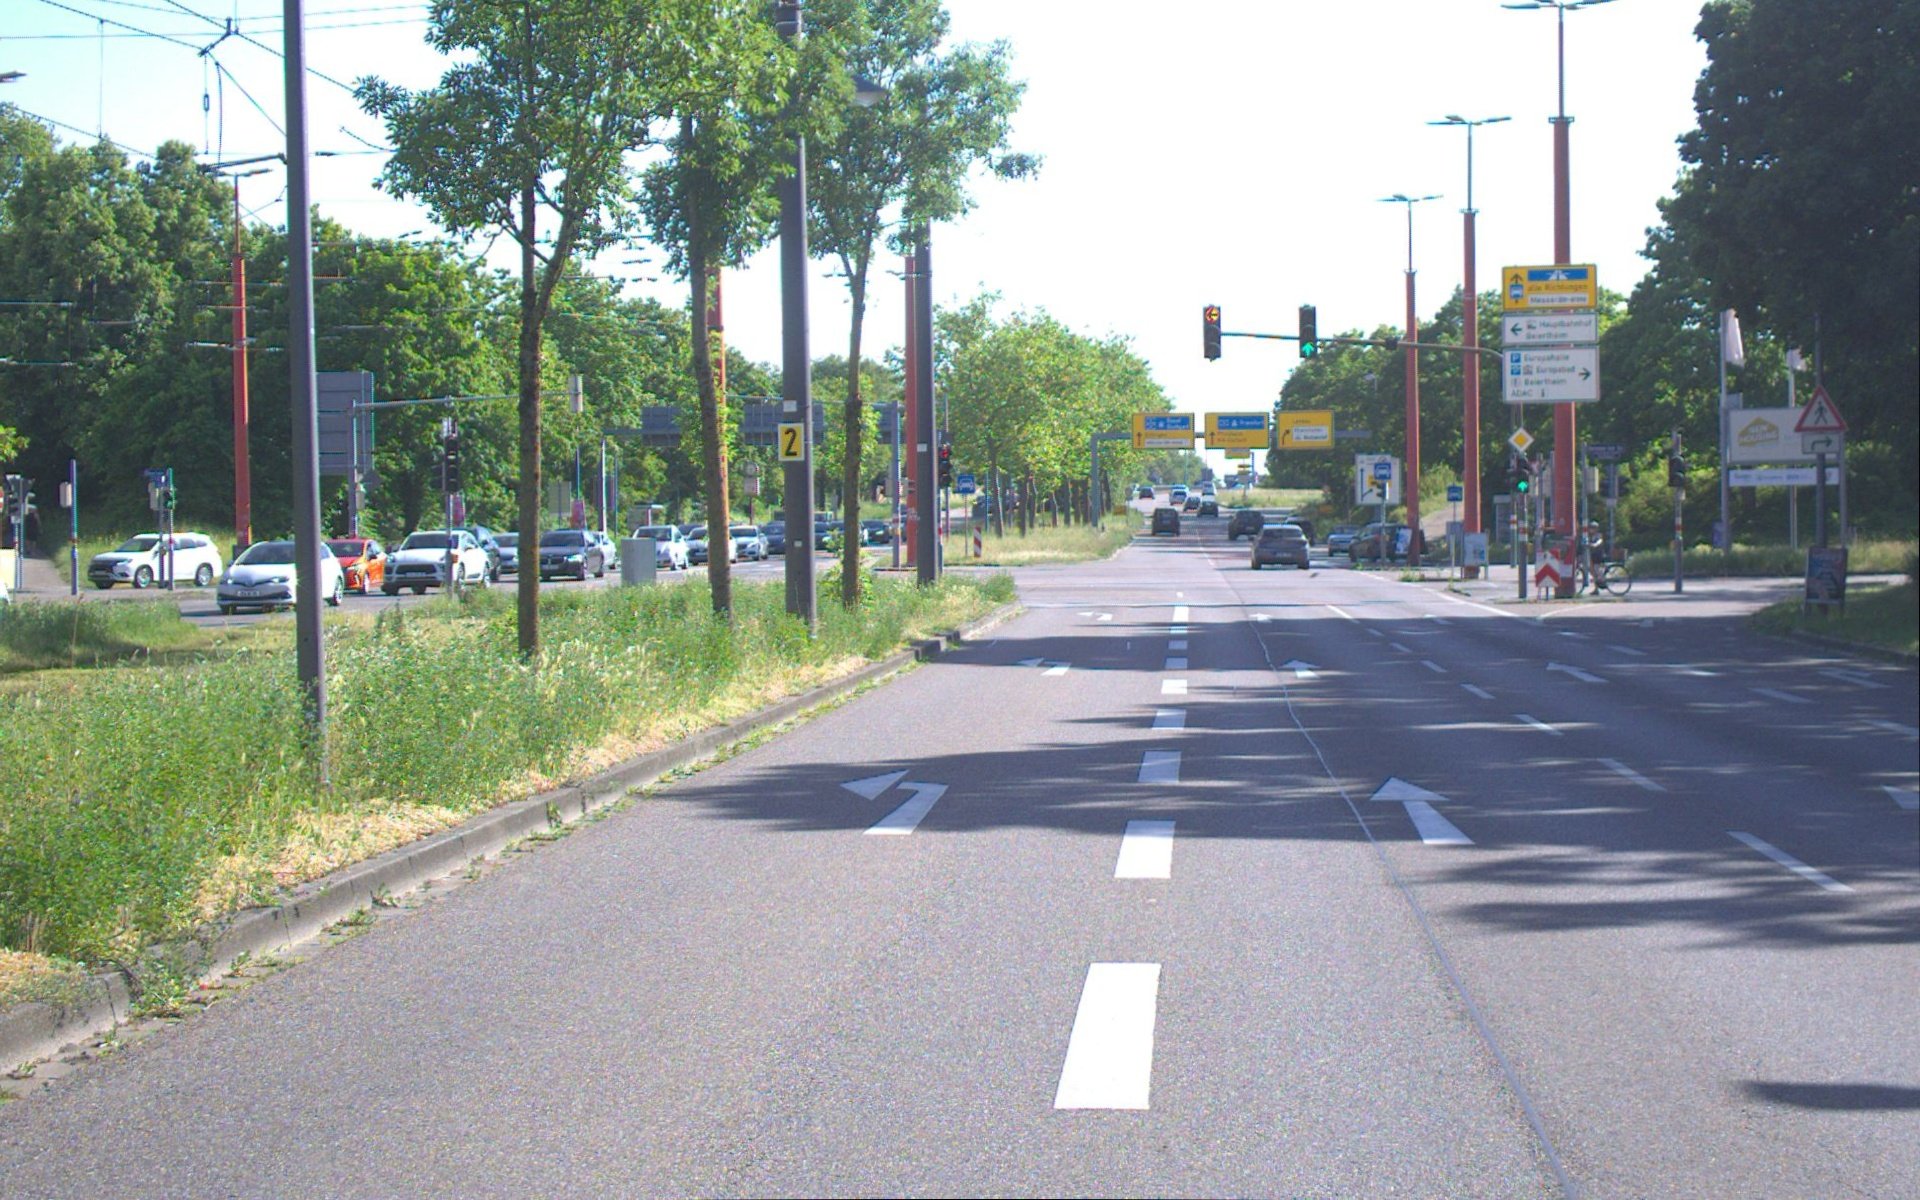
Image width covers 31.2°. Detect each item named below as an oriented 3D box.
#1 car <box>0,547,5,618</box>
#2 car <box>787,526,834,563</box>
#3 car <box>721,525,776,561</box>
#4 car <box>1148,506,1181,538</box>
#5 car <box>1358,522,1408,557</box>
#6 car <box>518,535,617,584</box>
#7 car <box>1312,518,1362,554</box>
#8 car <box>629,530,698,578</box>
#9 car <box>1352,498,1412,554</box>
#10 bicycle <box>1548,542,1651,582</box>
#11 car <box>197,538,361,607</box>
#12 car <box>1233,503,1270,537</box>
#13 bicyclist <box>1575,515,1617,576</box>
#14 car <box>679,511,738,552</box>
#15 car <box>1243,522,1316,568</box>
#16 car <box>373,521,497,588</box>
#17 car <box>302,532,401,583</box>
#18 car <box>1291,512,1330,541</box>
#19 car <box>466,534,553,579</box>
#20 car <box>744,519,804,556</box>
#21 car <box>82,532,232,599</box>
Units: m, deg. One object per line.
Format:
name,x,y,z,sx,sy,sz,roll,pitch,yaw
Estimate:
car,-18.441,-0.302,60.670,1.798,1.288,4.000,1,1,5
car,-7.187,-2.672,165.439,1.801,1.701,4.059,-1,1,4
car,-8.750,-2.373,142.341,1.704,1.418,4.643,-1,1,3
car,13.129,-4.984,220.764,1.993,2.007,4.000,1,1,2
car,16.147,-2.306,131.438,1.738,1.337,3.081,0,1,4
car,-11.784,-1.245,103.513,1.994,1.404,4.989,1,1,5
car,16.352,-2.787,149.219,1.994,1.535,4.000,1,1,4
car,-10.316,-1.607,119.766,1.763,1.603,3.757,-1,1,5
car,14.349,-2.528,117.087,1.994,1.881,3.999,0,1,7
bicycle,14.165,-0.843,76.205,2.161,0.875,0.560,1,1,-7
car,-14.410,-0.617,73.011,1.900,1.393,4.542,1,1,10
car,17.609,-4.818,207.610,2.155,2.007,4.000,0,1,4
bicyclist,14.094,-1.202,76.209,0.739,1.337,0.708,1,1,-6
car,-9.661,-2.636,132.477,1.589,1.467,4.182,-2,2,5
car,10.428,-1.809,112.558,1.993,1.491,4.000,0,1,0
car,-13.177,-1.167,86.534,1.895,1.616,4.656,1,1,7
car,-15.976,-1.125,90.412,1.657,1.293,4.177,1,1,3
car,19.443,-4.071,191.025,1.994,1.535,3.999,1,1,4
car,-14.872,-1.442,113.788,1.994,1.427,4.693,-1,1,3
car,-8.207,-2.789,152.245,1.994,1.589,4.463,-1,1,6
car,-24.955,-1.103,106.979,1.997,2.007,4.399,1,2,33
